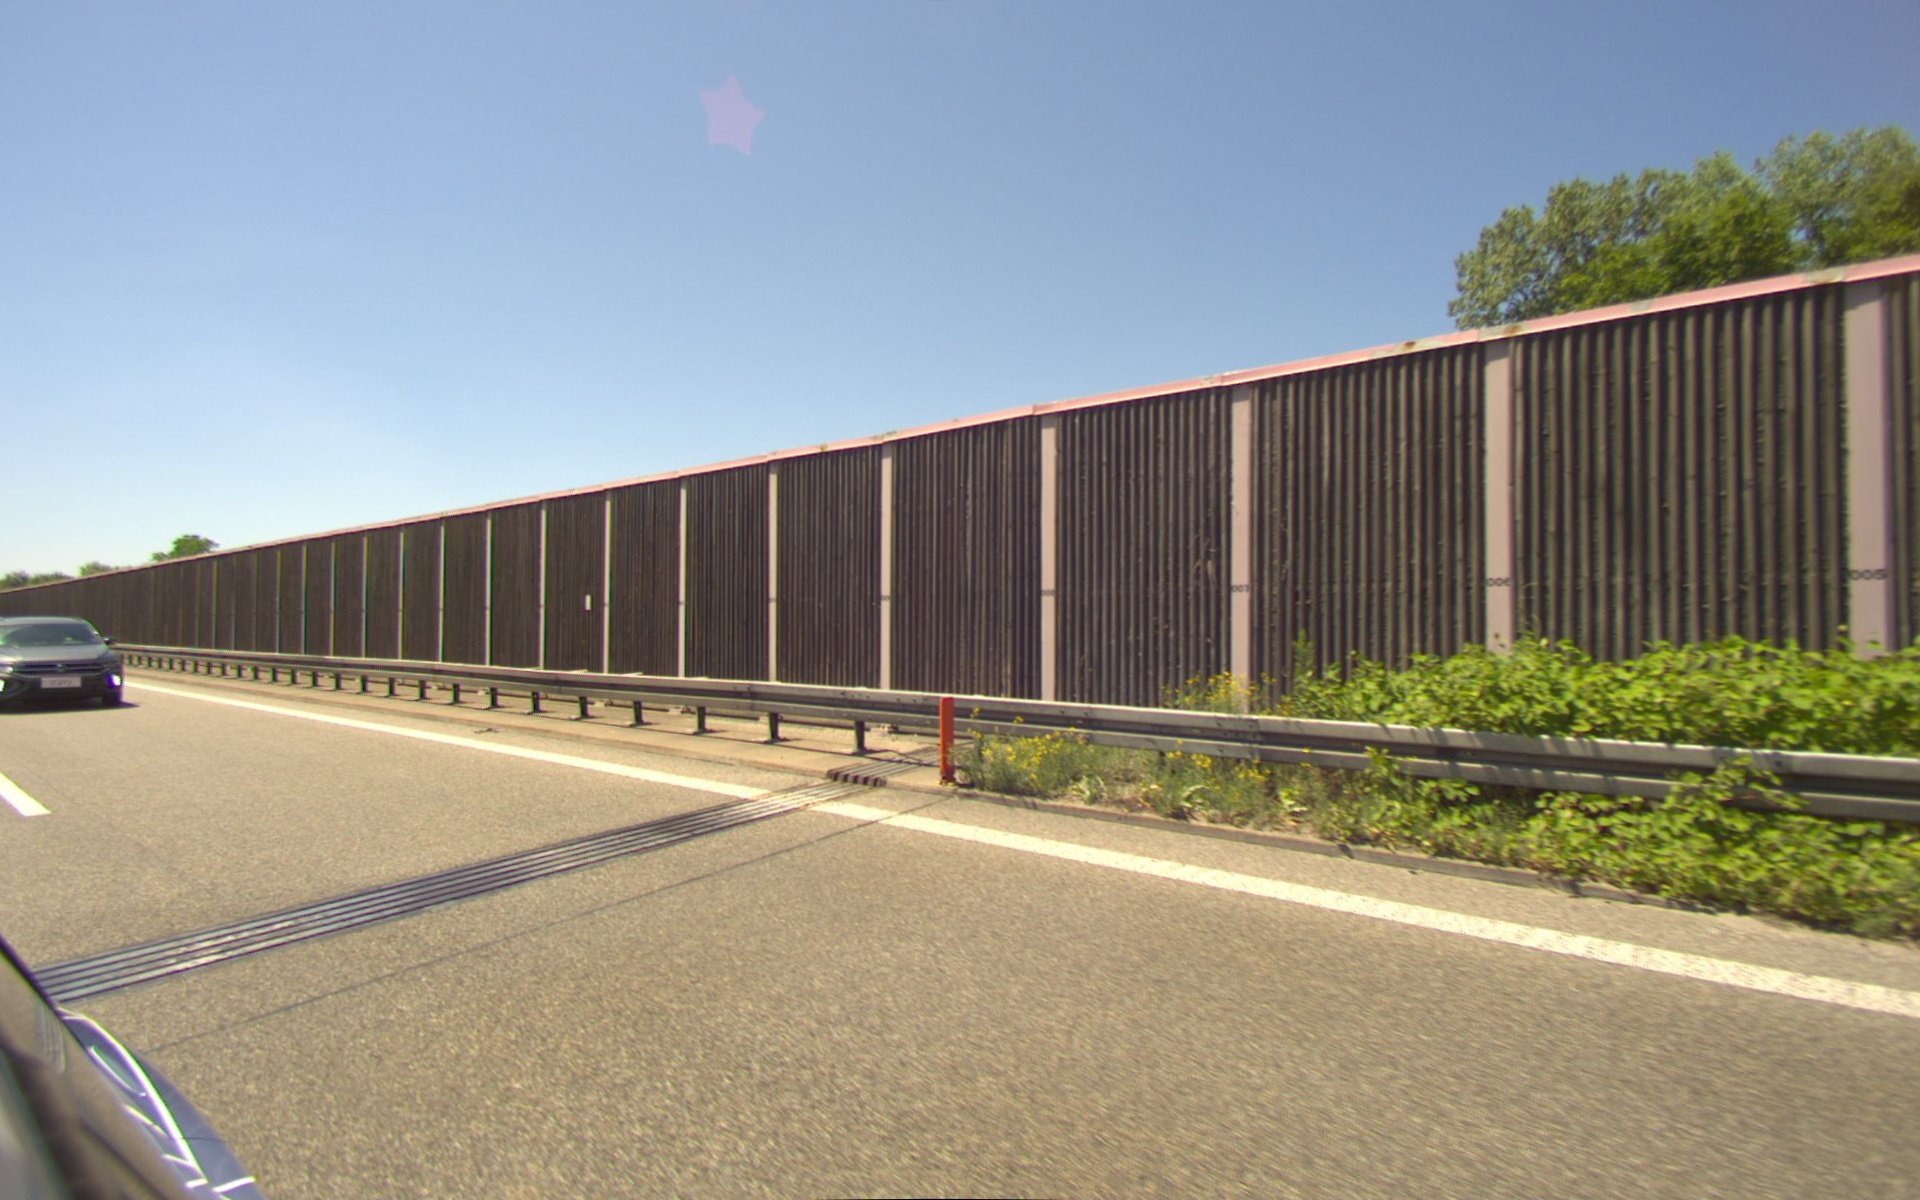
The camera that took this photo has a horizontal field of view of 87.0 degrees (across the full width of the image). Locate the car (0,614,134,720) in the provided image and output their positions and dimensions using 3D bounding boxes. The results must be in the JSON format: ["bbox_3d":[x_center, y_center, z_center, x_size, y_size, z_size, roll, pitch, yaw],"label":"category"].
[{"bbox_3d":[-16.420,1.128,17.913,5.004,1.652,1.861,-2,-2,40],"label":"car"}]
